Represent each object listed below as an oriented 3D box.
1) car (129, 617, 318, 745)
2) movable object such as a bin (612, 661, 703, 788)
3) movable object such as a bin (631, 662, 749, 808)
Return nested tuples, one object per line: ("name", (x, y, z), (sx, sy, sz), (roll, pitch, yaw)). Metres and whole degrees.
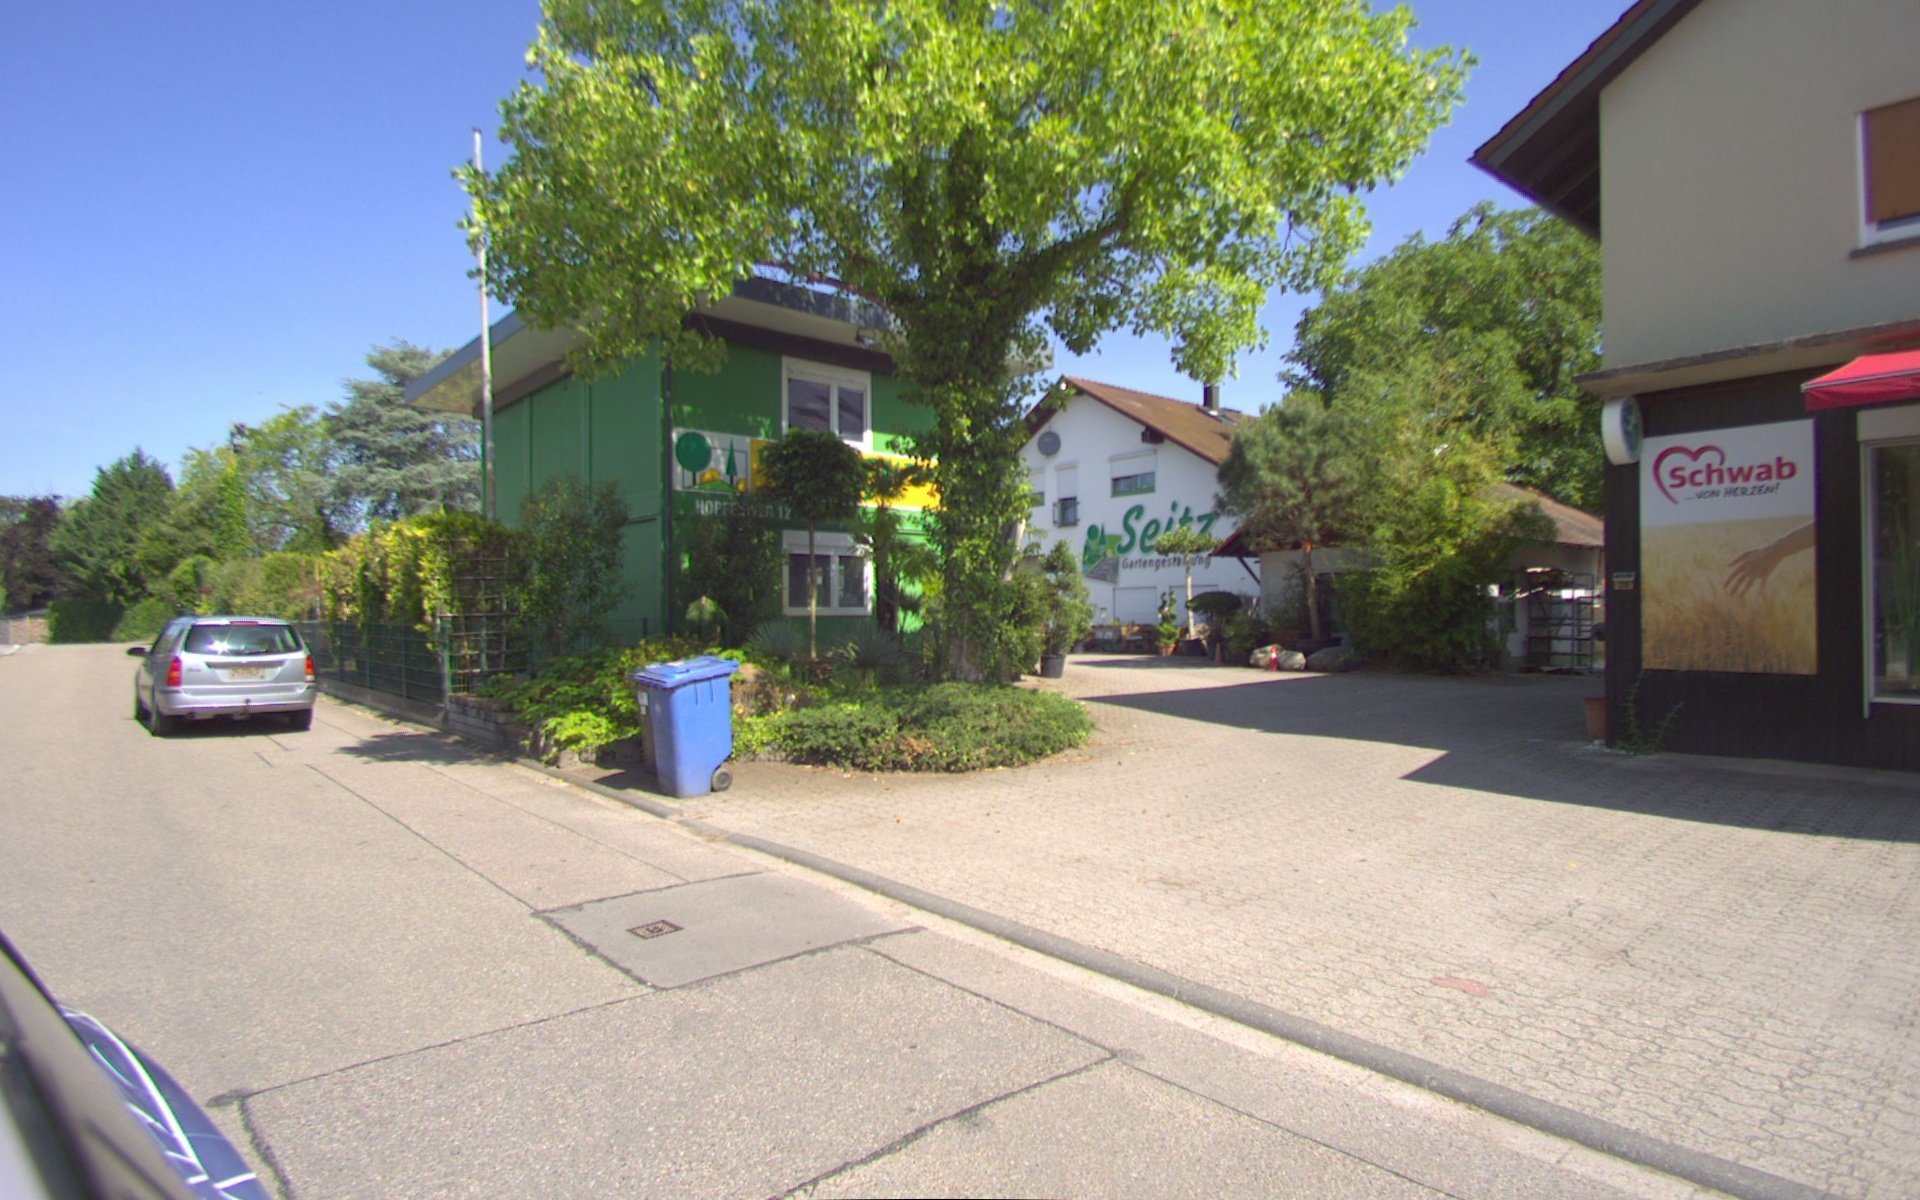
("car", (-10.343, 1.015, 14.076), (1.731, 1.498, 4.381), (2, -3, -41))
("movable object such as a bin", (-2.688, 1.083, 8.988), (0.575, 1.032, 0.569), (-1, -1, -41))
("movable object such as a bin", (-2.195, 1.059, 8.219), (0.722, 1.062, 0.613), (-1, 0, -41))
